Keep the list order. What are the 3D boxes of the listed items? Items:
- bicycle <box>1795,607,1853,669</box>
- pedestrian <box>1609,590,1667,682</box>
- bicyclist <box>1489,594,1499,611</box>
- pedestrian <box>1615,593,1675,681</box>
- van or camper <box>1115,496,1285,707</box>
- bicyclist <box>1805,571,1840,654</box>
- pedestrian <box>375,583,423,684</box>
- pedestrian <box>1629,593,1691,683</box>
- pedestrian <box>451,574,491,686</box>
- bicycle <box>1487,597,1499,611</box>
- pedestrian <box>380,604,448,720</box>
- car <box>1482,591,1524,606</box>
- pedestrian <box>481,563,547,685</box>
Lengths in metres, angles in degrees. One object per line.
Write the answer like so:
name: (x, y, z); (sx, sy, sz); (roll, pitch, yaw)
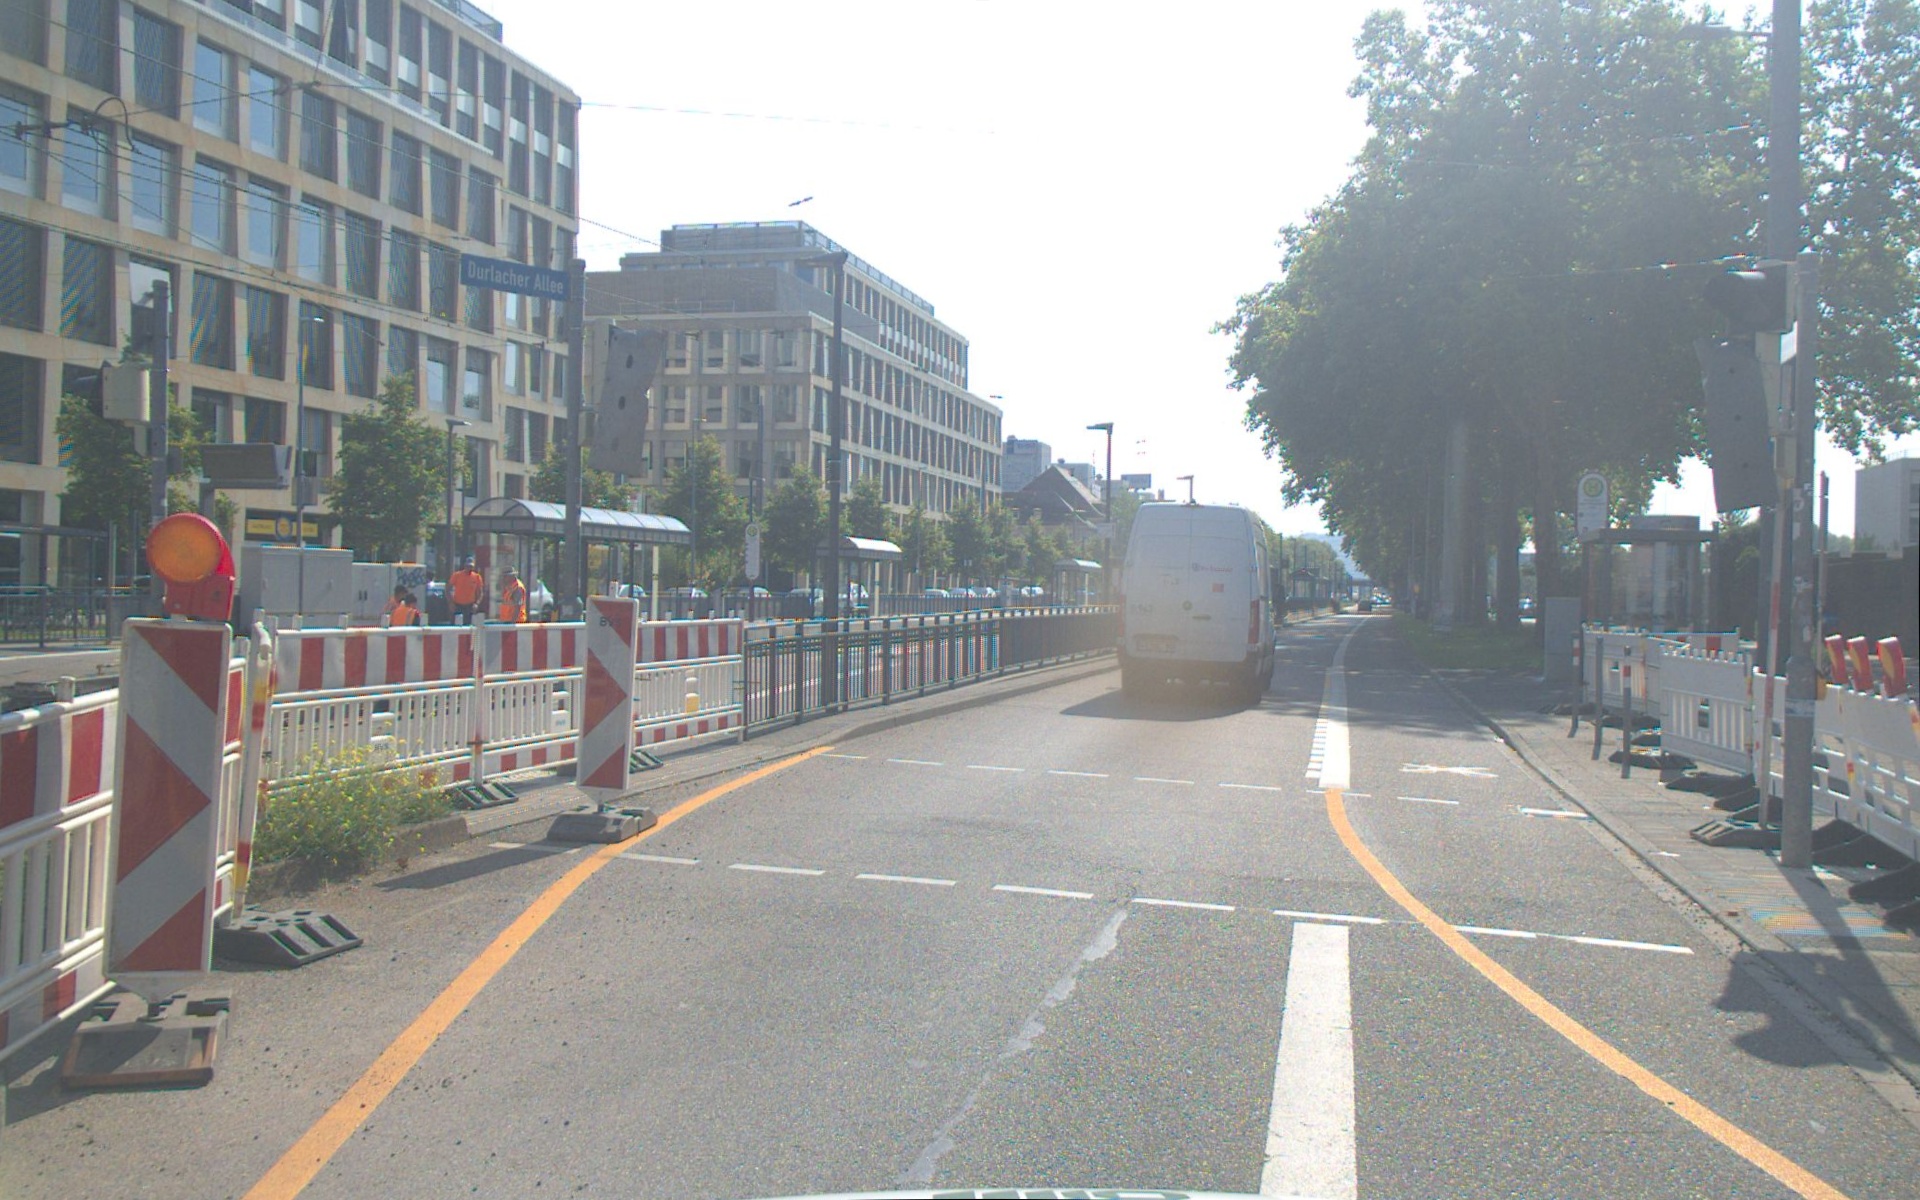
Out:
bicycle: (16.539, 0.714, 31.697); (0.480, 1.108, 1.859); (0, 1, 12)
pedestrian: (10.522, 0.560, 25.687); (0.734, 1.389, 0.612); (1, 0, 14)
bicyclist: (39.745, 0.179, 123.066); (0.655, 1.298, 0.729); (-1, 0, 14)
pedestrian: (10.359, 0.555, 25.038); (0.725, 1.283, 0.612); (1, 0, 14)
van or camper: (3.660, -0.014, 24.363); (2.070, 2.728, 5.255); (1, 1, 12)
bicyclist: (16.556, 0.236, 31.751); (0.459, 1.566, 0.597); (0, 1, 12)
pedestrian: (-8.960, 0.524, 26.419); (0.627, 1.581, 0.624); (-1, 1, -12)
pedestrian: (10.261, 0.551, 24.245); (0.725, 1.283, 0.612); (1, 0, 14)
pedestrian: (-8.189, 0.486, 27.703); (0.614, 1.847, 0.638); (-1, 1, -18)
bicycle: (39.673, 0.314, 123.035); (0.667, 1.022, 2.220); (-1, 0, 13)
pedestrian: (-8.209, 0.918, 24.860); (0.765, 1.692, 0.658); (-1, 1, -42)
car: (55.497, -0.188, 169.007); (3.902, 1.400, 2.001); (2, 0, 15)
pedestrian: (-7.422, 0.388, 27.540); (0.709, 1.985, 0.787); (0, 1, 29)
